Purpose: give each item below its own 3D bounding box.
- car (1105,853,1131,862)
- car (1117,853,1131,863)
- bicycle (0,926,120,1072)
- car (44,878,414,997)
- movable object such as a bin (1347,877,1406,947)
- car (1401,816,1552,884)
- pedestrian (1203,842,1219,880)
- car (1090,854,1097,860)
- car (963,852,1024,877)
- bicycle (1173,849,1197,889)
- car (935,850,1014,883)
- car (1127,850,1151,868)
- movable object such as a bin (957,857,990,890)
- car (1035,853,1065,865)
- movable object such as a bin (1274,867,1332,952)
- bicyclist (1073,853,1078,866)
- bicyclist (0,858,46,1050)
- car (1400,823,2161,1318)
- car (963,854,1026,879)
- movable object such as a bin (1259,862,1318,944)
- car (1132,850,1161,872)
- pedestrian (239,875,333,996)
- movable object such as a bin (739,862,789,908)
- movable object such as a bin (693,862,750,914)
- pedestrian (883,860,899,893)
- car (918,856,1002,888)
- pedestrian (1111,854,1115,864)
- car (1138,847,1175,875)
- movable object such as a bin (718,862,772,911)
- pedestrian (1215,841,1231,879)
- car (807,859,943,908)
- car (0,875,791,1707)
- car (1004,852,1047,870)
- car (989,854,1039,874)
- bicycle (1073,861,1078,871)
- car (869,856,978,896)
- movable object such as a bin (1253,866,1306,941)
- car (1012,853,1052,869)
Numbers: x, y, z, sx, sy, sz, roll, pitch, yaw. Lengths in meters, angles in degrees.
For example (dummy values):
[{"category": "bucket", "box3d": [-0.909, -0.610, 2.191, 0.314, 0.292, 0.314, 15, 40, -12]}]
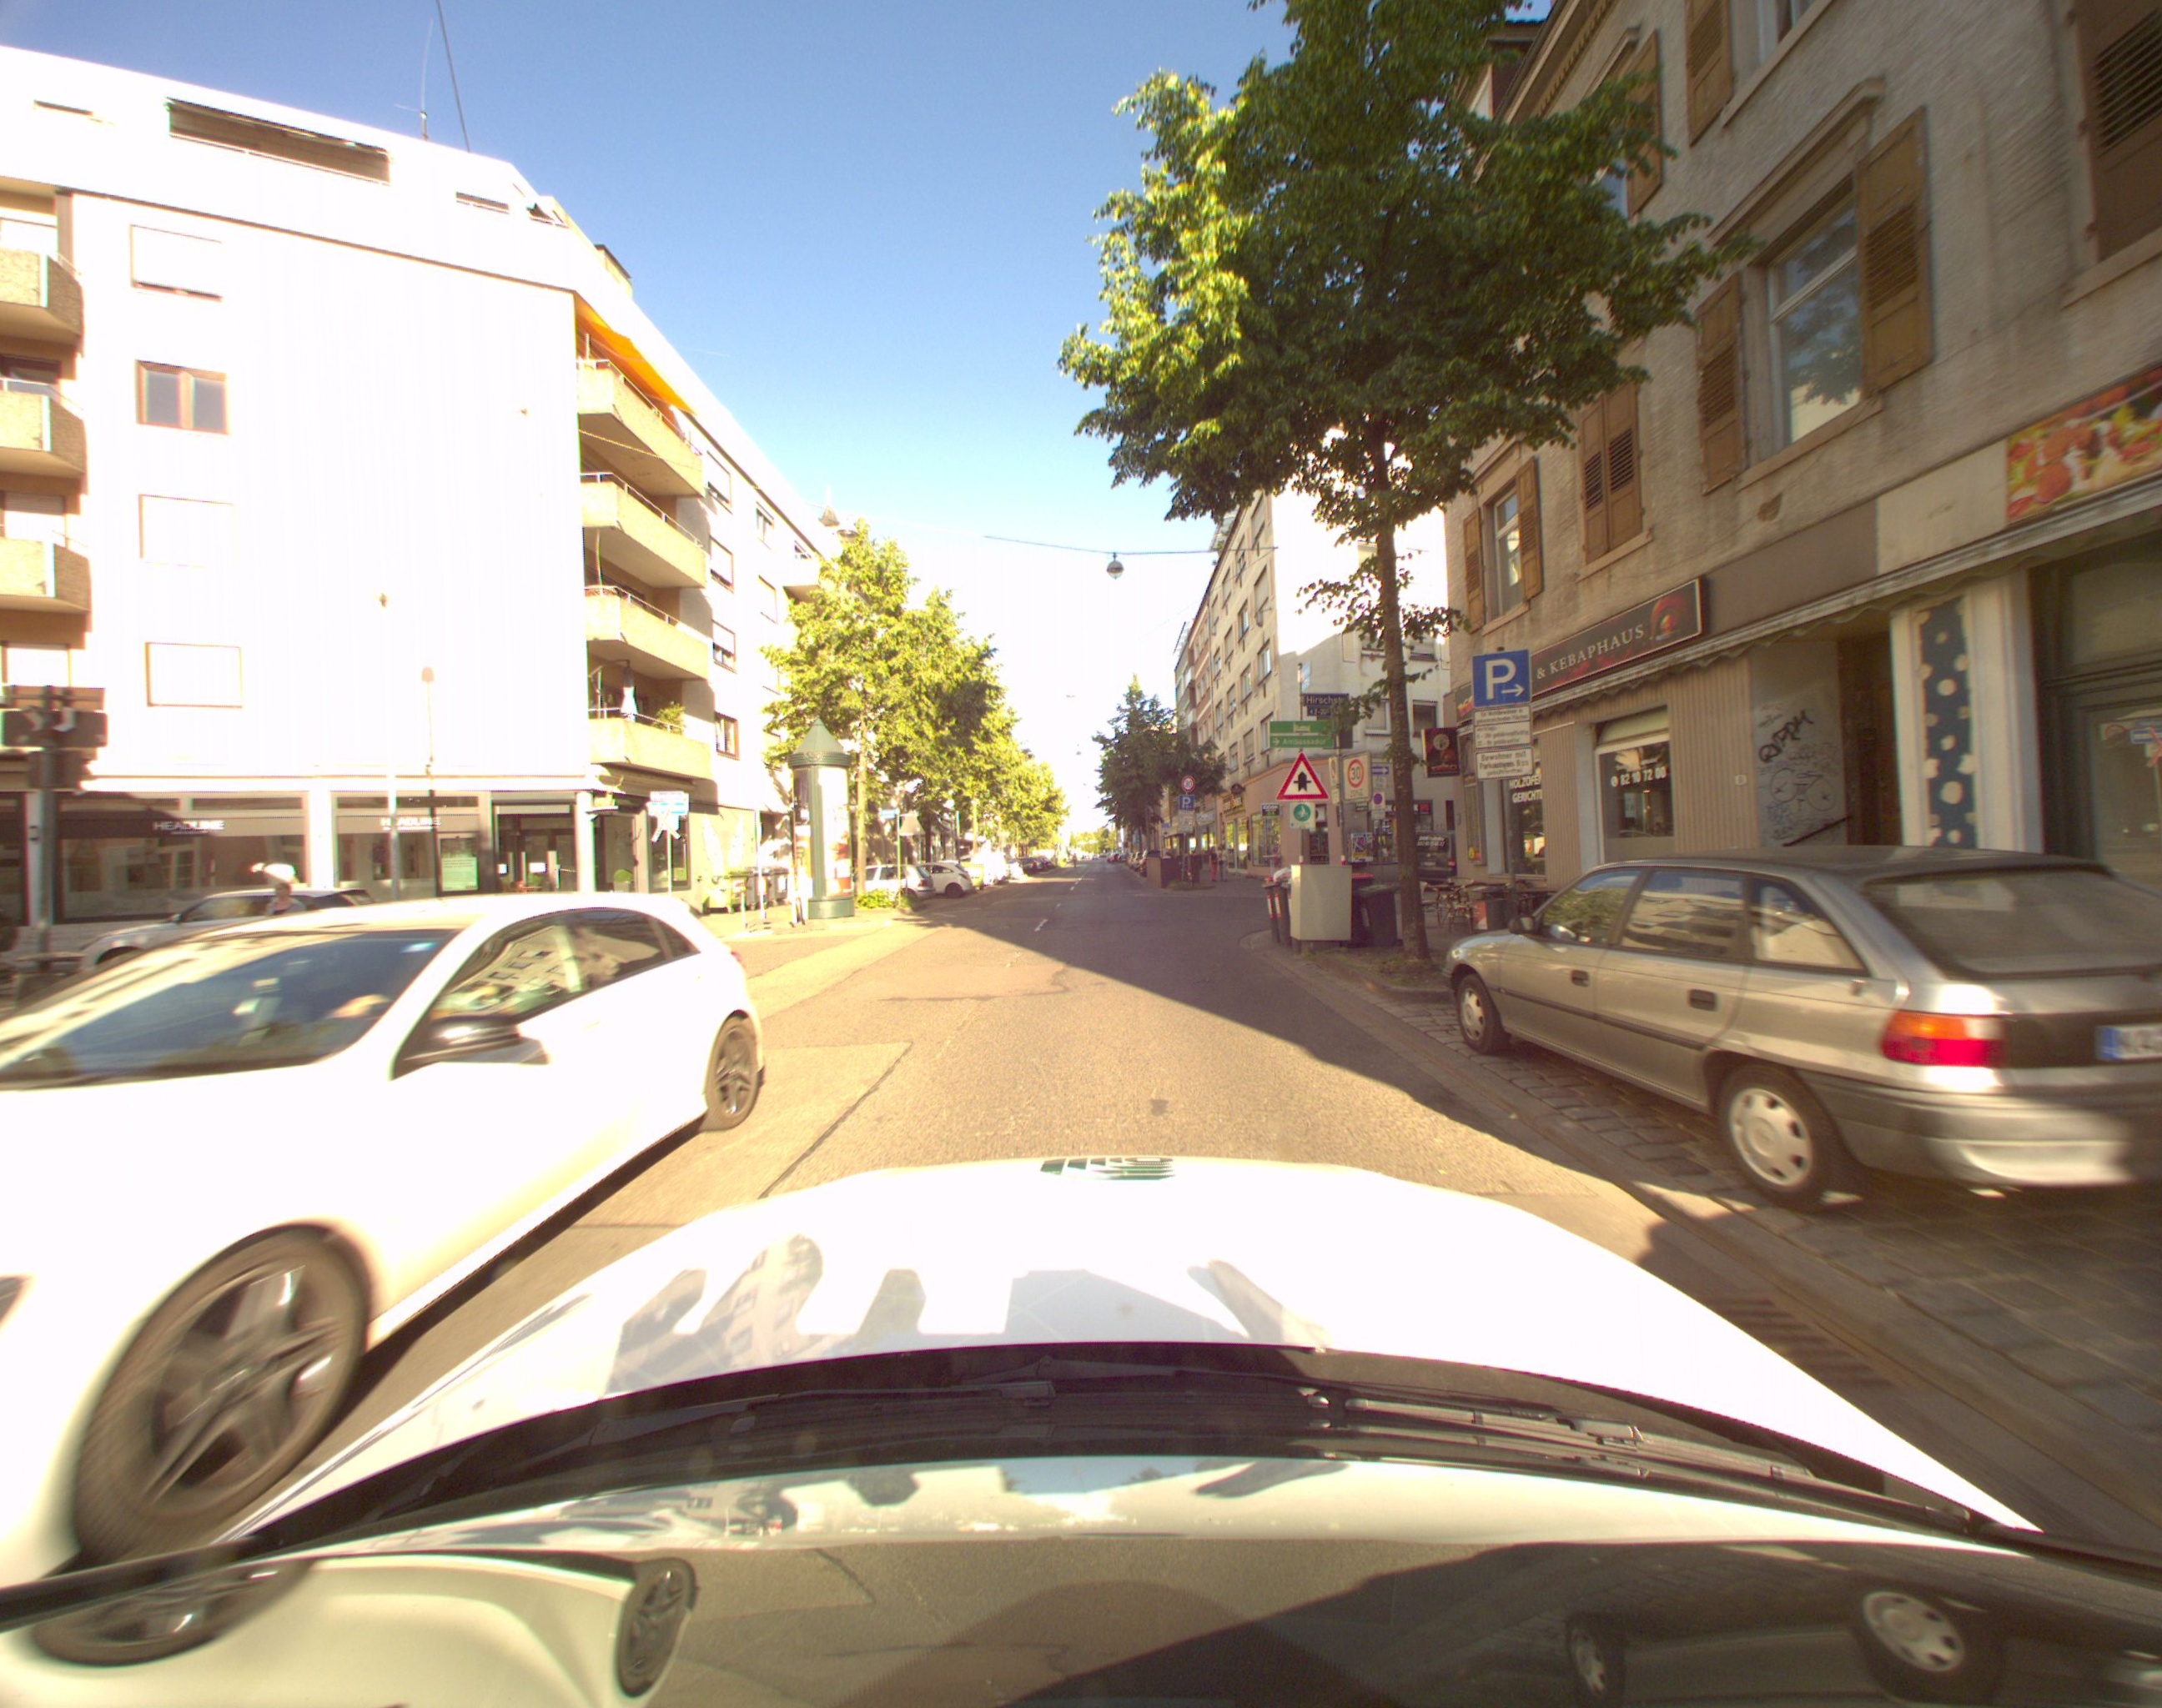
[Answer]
[{"category": "car", "box3d": [6.376, 0.633, 140.530, 4.015, 1.442, 1.979, -1, -1, -33]}, {"category": "car", "box3d": [6.942, 0.671, 132.206, 1.986, 1.508, 4.000, -2, -1, 1]}, {"category": "bicycle", "box3d": [-10.064, 1.343, 7.122, 0.712, 1.220, 2.049, -3, 0, 34]}, {"category": "car", "box3d": [-14.784, 1.366, 14.484, 4.001, 1.610, 1.986, -3, 0, -20]}, {"category": "movable object such as a bin", "box3d": [4.108, 0.796, 11.355, 0.561, 0.896, 0.628, -3, 0, -1]}, {"category": "car", "box3d": [13.213, -0.151, 27.182, 4.706, 2.013, 1.983, -3, 0, -26]}, {"category": "pedestrian", "box3d": [5.852, 0.315, 36.592, 0.545, 1.649, 0.665, -3, 0, 1]}, {"category": "car", "box3d": [3.598, 0.799, 229.656, 1.786, 1.411, 4.001, -3, 0, 1]}, {"category": "car", "box3d": [-6.131, 0.747, 57.441, 3.974, 1.500, 2.000, -3, -1, 0]}, {"category": "bicycle", "box3d": [3.976, 0.548, 31.171, 0.559, 1.441, 1.629, -8, 0, 1]}, {"category": "car", "box3d": [-5.988, 0.690, 46.109, 3.967, 1.694, 2.003, -3, 0, 6]}, {"category": "car", "box3d": [5.453, 0.465, 76.846, 1.986, 1.609, 4.001, -3, 0, 1]}, {"category": "movable object such as a bin", "box3d": [-5.257, 0.945, 39.859, 1.330, 1.478, 1.480, -3, 0, 1]}, {"category": "car", "box3d": [-4.339, 0.725, 113.846, 3.974, 1.500, 2.000, -3, 0, 0]}, {"category": "movable object such as a bin", "box3d": [3.296, 0.809, 12.125, 0.620, 1.179, 0.711, -3, 0, -1]}, {"category": "bicyclist", "box3d": [-0.653, 0.628, 99.311, 0.558, 1.548, 0.728, -2, -1, 1]}, {"category": "bicyclist", "box3d": [-10.077, 0.910, 7.128, 0.712, 1.693, 1.164, -3, 0, 34]}, {"category": "car", "box3d": [3.602, 0.643, 4.638, 1.816, 1.391, 4.301, -5, 0, 0]}, {"category": "car", "box3d": [-5.793, 0.837, 54.926, 3.974, 1.500, 2.000, -3, 0, 0]}, {"category": "movable object such as a bin", "box3d": [3.293, 0.763, 12.964, 0.703, 1.222, 0.680, -3, 0, -1]}, {"category": "car", "box3d": [5.092, 0.550, 64.209, 1.986, 1.609, 4.001, -3, 0, 1]}, {"category": "pedestrian", "box3d": [-11.466, 1.145, 11.749, 0.764, 1.643, 0.694, -3, 0, 26]}, {"category": "movable object such as a bin", "box3d": [-10.935, 1.047, 28.132, 1.168, 1.485, 1.314, -3, 0, -1]}, {"category": "movable object such as a bin", "box3d": [-11.025, 1.035, 25.046, 1.137, 1.485, 1.235, -3, 0, -1]}, {"category": "pedestrian", "box3d": [-9.620, 1.135, 41.166, 0.544, 1.649, 0.665, -3, 0, 3]}, {"category": "car", "box3d": [-6.407, 0.935, 43.314, 3.967, 1.457, 1.871, -3, 0, 6]}, {"category": "pedestrian", "box3d": [4.891, 0.730, 124.715, 0.544, 1.472, 0.546, -3, 0, -1]}, {"category": "car", "box3d": [4.655, 0.423, 50.835, 1.986, 1.609, 4.001, -3, 0, 1]}, {"category": "movable object such as a bin", "box3d": [-10.914, 1.051, 26.501, 1.168, 1.485, 1.314, -3, 0, -1]}, {"category": "pedestrian", "box3d": [6.422, 0.267, 36.880, 0.545, 1.649, 0.665, -3, 0, 1]}, {"category": "car", "box3d": [-6.852, 0.959, 27.414, 3.974, 1.390, 2.000, -3, 0, 0]}, {"category": "car", "box3d": [-2.877, 0.887, 3.228, 1.796, 1.435, 4.409, -2, 0, 0]}, {"category": "car", "box3d": [-5.409, 0.673, 79.652, 3.974, 1.500, 2.000, -3, 0, 0]}, {"category": "car", "box3d": [-5.594, 0.812, 68.880, 3.974, 1.500, 2.000, -3, 0, 0]}, {"category": "bicycle", "box3d": [-0.638, 1.424, 99.282, 0.558, 1.180, 1.628, -2, -1, 1]}, {"category": "car", "box3d": [-6.370, 0.877, 33.197, 3.974, 1.390, 2.000, -3, 0, 0]}, {"category": "movable object such as a bin", "box3d": [3.333, 0.814, 13.706, 0.657, 1.179, 0.739, -3, 0, -1]}, {"category": "car", "box3d": [-5.171, 0.738, 85.896, 3.974, 1.500, 2.000, -3, 0, 0]}]
